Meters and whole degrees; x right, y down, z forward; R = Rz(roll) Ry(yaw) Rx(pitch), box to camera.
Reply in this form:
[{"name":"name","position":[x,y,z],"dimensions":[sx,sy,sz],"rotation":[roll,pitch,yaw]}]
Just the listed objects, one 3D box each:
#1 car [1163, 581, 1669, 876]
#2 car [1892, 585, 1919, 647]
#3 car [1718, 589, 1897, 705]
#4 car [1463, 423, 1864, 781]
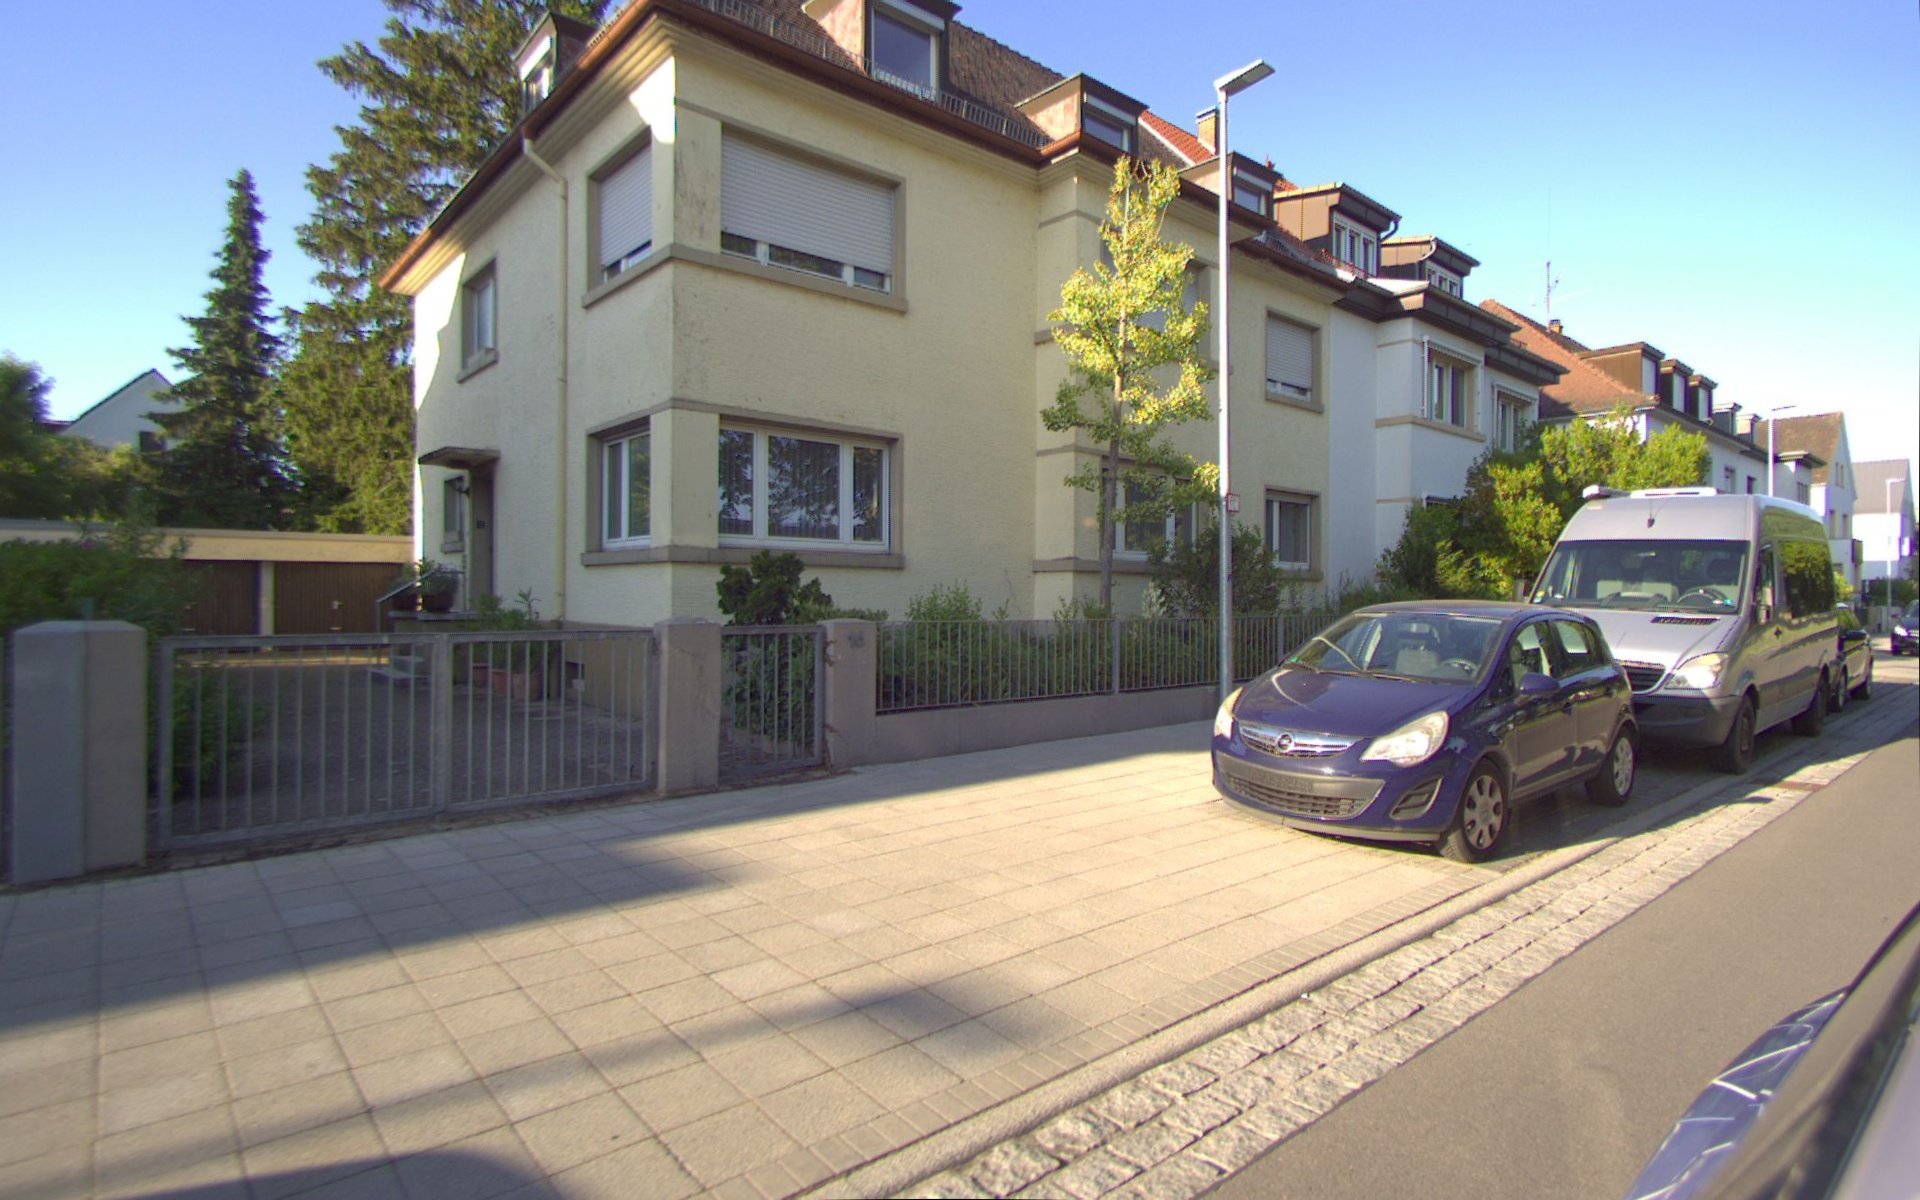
[{"name":"car","position":[3.328,0.633,7.040],"dimensions":[3.933,1.457,1.629],"rotation":[0,2,-40]},{"name":"car","position":[27.699,0.455,28.280],"dimensions":[3.930,1.660,1.973],"rotation":[0,2,-41]},{"name":"car","position":[12.500,0.606,14.876],"dimensions":[3.297,1.518,1.467],"rotation":[0,1,-40]},{"name":"car","position":[7.797,0.011,10.907],"dimensions":[5.882,2.890,2.132],"rotation":[0,-1,-41]}]
